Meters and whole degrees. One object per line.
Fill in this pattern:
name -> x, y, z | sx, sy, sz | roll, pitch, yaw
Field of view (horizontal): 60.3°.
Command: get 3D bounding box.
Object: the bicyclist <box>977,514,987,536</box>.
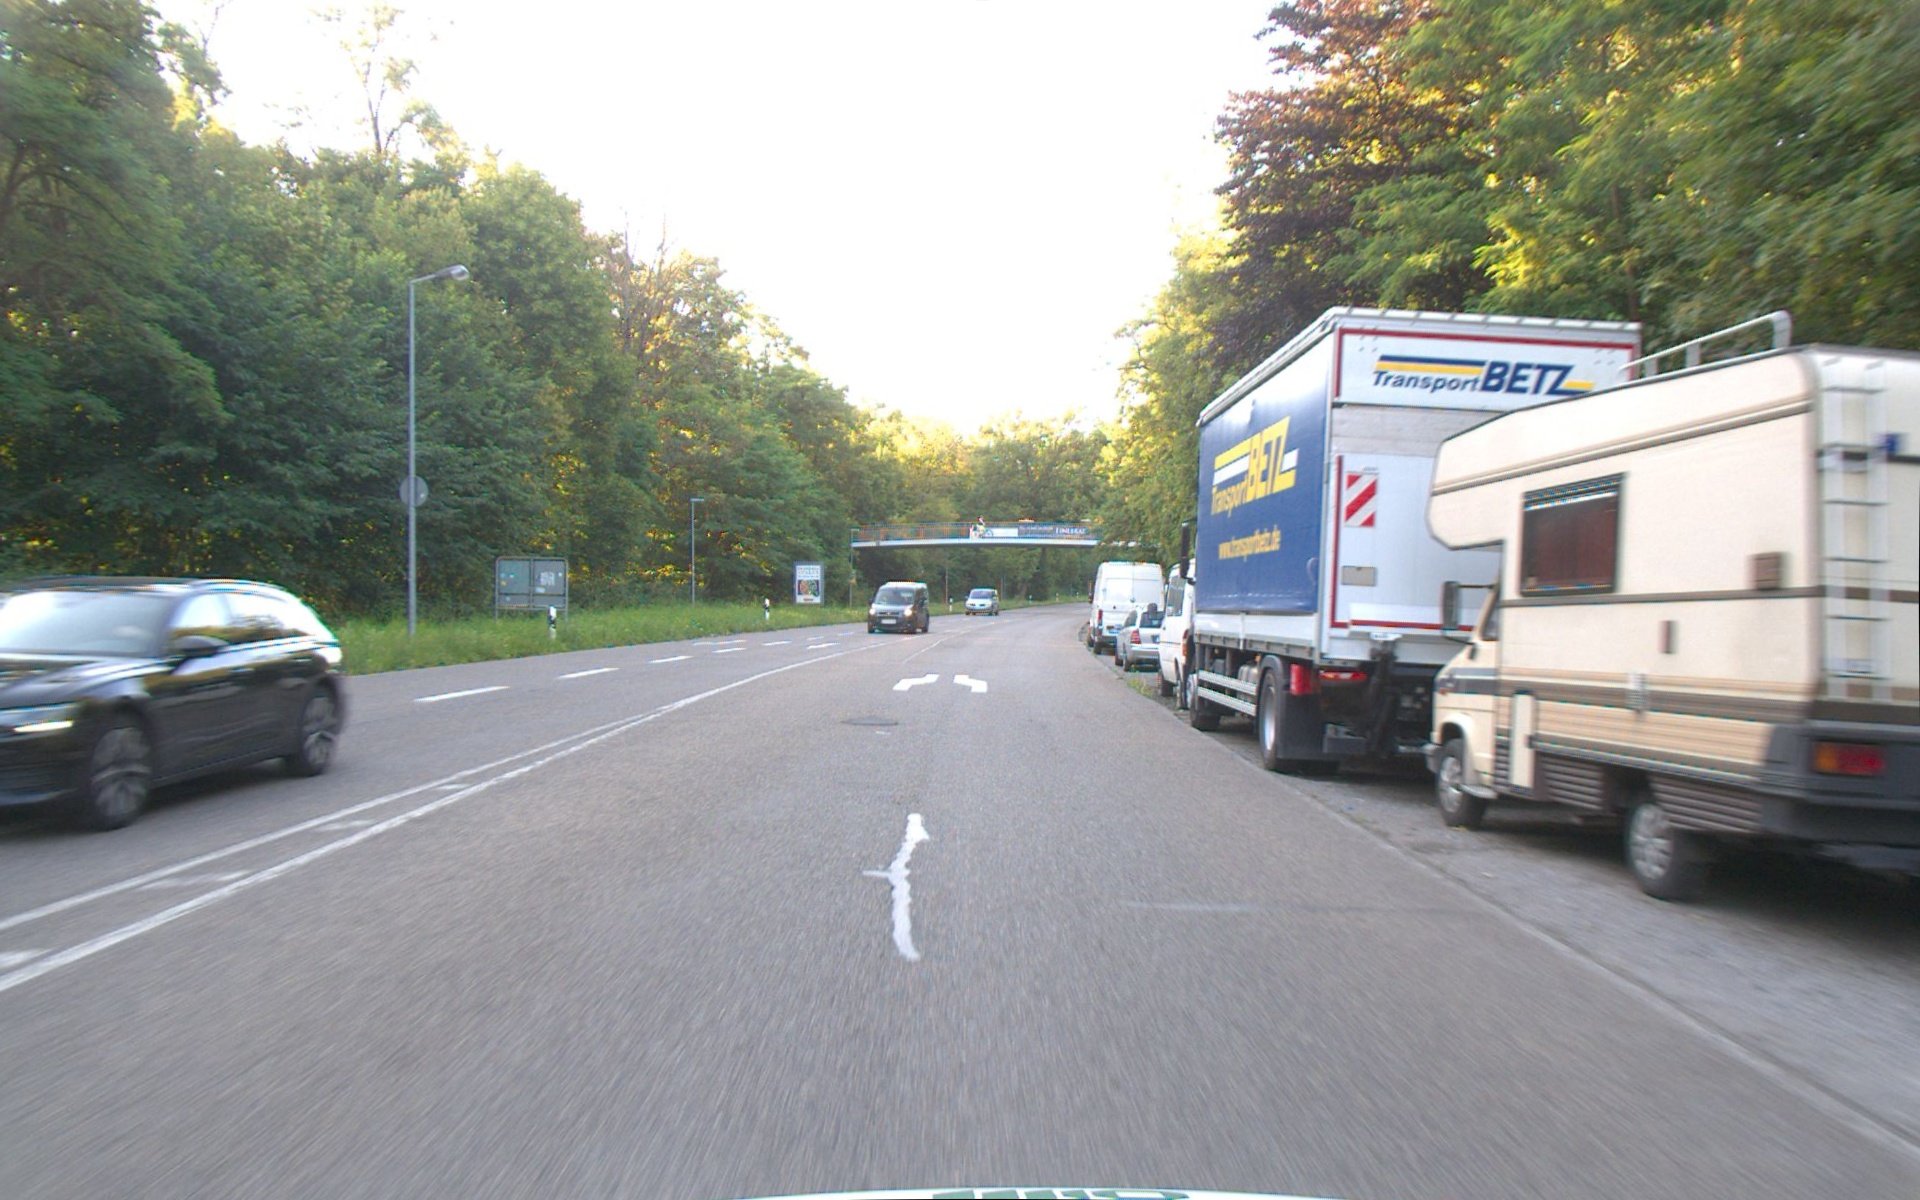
bicyclist -> 1.673, -5.651, 124.134 | 0.650, 1.609, 0.548 | 2, 0, 8

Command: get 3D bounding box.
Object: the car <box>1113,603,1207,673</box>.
car -> 4.516, 0.815, 37.827 | 1.649, 1.396, 4.271 | 3, 0, 1

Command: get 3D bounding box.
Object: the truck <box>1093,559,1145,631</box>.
truck -> 6.560, -0.199, 68.283 | 1.951, 2.764, 6.620 | 2, 0, 5

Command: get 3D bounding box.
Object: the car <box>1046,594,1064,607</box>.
car -> 10.743, 0.020, 186.916 | 1.851, 1.473, 4.112 | 0, 0, 5

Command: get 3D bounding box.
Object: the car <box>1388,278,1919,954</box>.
car -> 4.763, 0.088, 10.172 | 2.361, 2.908, 5.928 | 1, 0, -4

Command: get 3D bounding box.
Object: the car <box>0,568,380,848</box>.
car -> -5.779, 0.544, 11.214 | 1.852, 1.465, 4.771 | 2, 0, 2

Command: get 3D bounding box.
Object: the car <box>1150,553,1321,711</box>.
car -> 4.347, 0.462, 26.861 | 1.952, 2.227, 4.929 | 3, 0, 1

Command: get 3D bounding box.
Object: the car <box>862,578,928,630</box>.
car -> -2.390, 0.141, 62.123 | 1.804, 1.831, 4.750 | 2, 0, 5

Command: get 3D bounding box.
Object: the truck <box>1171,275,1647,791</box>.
truck -> 4.226, -0.567, 18.139 | 2.603, 4.098, 9.723 | 1, 0, 1

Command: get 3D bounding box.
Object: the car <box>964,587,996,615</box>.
car -> 1.345, 0.074, 110.470 | 1.804, 1.766, 4.003 | 2, 0, 5

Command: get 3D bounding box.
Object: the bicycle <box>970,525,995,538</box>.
bicycle -> 1.679, -5.137, 124.120 | 1.805, 0.965, 0.551 | 2, 0, 8

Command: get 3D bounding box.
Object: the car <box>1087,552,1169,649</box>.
car -> 4.839, 0.014, 48.385 | 1.923, 2.555, 6.017 | 3, 0, 3
